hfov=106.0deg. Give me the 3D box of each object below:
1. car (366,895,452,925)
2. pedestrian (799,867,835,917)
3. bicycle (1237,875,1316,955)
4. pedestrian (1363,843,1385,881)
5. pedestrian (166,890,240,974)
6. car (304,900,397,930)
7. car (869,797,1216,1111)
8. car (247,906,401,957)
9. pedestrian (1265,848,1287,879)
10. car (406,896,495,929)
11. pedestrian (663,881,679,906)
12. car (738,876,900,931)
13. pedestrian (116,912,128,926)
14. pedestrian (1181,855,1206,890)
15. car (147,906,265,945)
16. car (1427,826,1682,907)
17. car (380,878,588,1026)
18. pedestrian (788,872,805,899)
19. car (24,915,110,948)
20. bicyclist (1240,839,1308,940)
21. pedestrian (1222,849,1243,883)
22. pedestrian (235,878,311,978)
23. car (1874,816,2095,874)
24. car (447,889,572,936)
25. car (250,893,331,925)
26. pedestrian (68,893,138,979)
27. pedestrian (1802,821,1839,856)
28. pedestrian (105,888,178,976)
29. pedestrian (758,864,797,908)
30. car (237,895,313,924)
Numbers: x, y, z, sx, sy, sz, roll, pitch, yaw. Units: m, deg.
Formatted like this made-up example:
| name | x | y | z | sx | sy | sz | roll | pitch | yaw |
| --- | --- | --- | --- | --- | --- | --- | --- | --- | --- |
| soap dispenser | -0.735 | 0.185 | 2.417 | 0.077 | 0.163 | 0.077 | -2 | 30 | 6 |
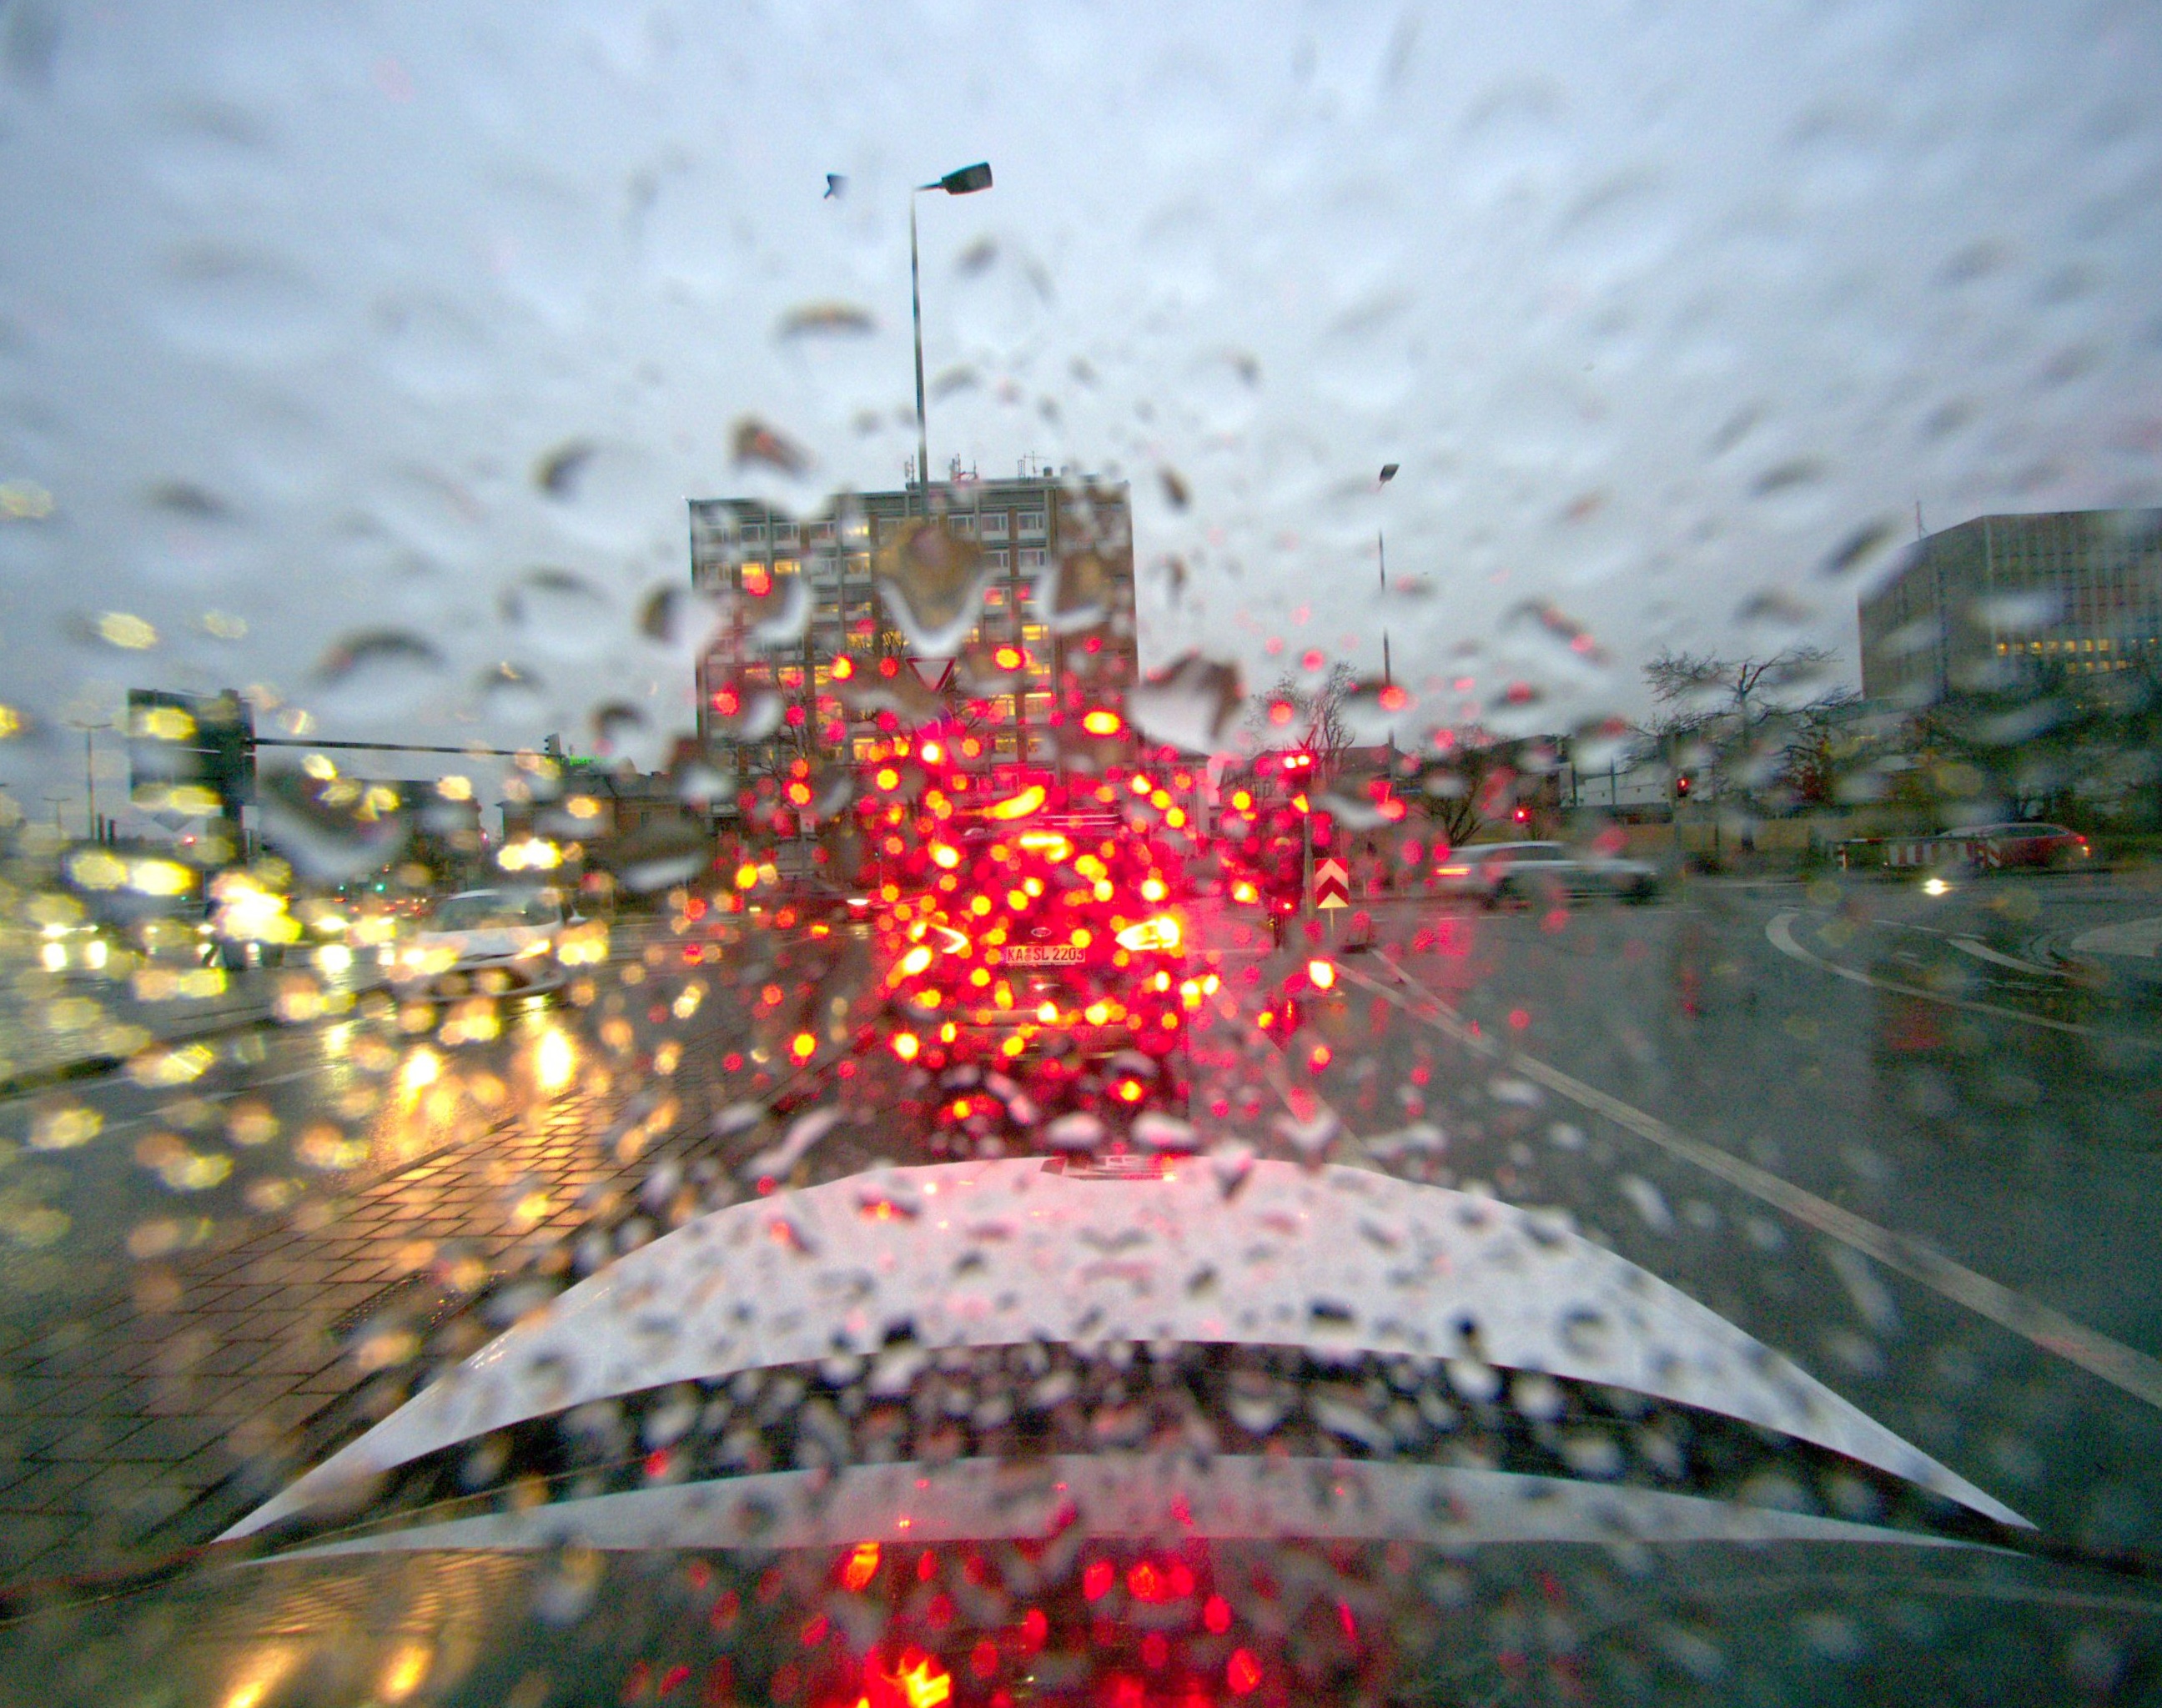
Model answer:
| name | x | y | z | sx | sy | sz | roll | pitch | yaw |
| --- | --- | --- | --- | --- | --- | --- | --- | --- | --- |
| car | -38.404 | 3.181 | 46.617 | 1.496 | 1.461 | 3.453 | -1 | -1 | 31 |
| pedestrian | -11.061 | 1.573 | 34.104 | 0.919 | 1.978 | 0.965 | -3 | 0 | 23 |
| bicycle | 2.906 | 0.875 | 12.313 | 0.780 | 1.075 | 1.958 | 0 | -1 | 2 |
| pedestrian | 16.743 | 0.432 | 46.550 | 0.879 | 2.113 | 0.897 | -3 | 0 | 3 |
| pedestrian | -19.477 | 1.709 | 18.080 | 0.653 | 1.755 | 0.856 | -3 | 0 | 18 |
| car | -43.822 | 3.628 | 48.915 | 1.582 | 1.482 | 3.840 | -1 | -1 | 31 |
| car | -0.163 | 0.591 | 6.687 | 1.986 | 1.789 | 4.001 | 0 | -1 | 2 |
| car | -26.275 | 2.674 | 28.289 | 4.542 | 1.477 | 1.819 | -3 | -1 | 17 |
| pedestrian | 10.207 | 0.479 | 42.716 | 0.920 | 1.533 | 1.045 | -3 | 0 | 6 |
| car | -33.330 | 3.060 | 43.074 | 3.954 | 1.568 | 1.836 | -1 | -1 | 20 |
| pedestrian | -27.772 | 2.674 | 55.177 | 0.634 | 1.688 | 0.640 | -3 | 0 | 18 |
| car | -8.274 | 1.557 | 25.813 | 4.543 | 1.477 | 1.819 | -3 | -1 | 15 |
| pedestrian | -145.489 | 9.913 | 123.557 | 0.908 | 2.013 | 0.986 | -3 | 0 | 42 |
| pedestrian | 5.986 | 0.978 | 43.134 | 1.127 | 1.720 | 0.984 | -3 | 0 | 12 |
| car | -38.940 | 3.163 | 36.251 | 4.617 | 1.477 | 1.820 | -3 | -1 | 19 |
| car | 10.731 | 0.299 | 18.838 | 4.653 | 1.552 | 1.945 | -3 | -1 | 11 |
| car | -7.642 | 1.156 | 10.781 | 1.751 | 1.448 | 3.677 | -5 | -1 | -30 |
| pedestrian | -17.951 | 1.977 | 51.325 | 0.753 | 1.628 | 0.560 | -3 | 0 | 16 |
| car | -52.165 | 3.982 | 41.875 | 4.612 | 1.477 | 1.822 | -3 | -1 | 26 |
| bicyclist | 2.903 | 0.512 | 12.334 | 0.780 | 1.453 | 1.134 | 0 | -1 | 2 |
| pedestrian | 8.244 | 0.655 | 44.252 | 0.990 | 1.799 | 0.922 | -3 | 0 | 10 |
| pedestrian | -17.305 | 1.554 | 17.475 | 0.996 | 2.021 | 0.792 | -3 | 0 | -39 |
| car | 27.478 | -0.263 | 24.898 | 4.390 | 1.477 | 1.814 | -3 | -1 | 6 |
| car | -20.563 | 2.108 | 29.313 | 3.920 | 1.477 | 1.821 | -3 | -1 | 22 |
| car | -51.161 | 3.537 | 52.768 | 1.649 | 1.826 | 3.609 | -1 | -1 | 39 |
| pedestrian | -21.455 | 1.782 | 17.878 | 0.741 | 1.770 | 0.546 | -3 | 0 | -12 |
| pedestrian | 35.771 | -0.755 | 39.399 | 0.958 | 1.603 | 0.795 | -3 | 0 | 3 |
| pedestrian | -20.769 | 1.709 | 18.015 | 0.733 | 1.838 | 0.674 | -3 | 0 | -11 |
| pedestrian | -13.603 | 1.432 | 36.530 | 0.992 | 1.842 | 1.146 | -3 | 2 | 24 |
| car | -53.096 | 3.621 | 53.660 | 1.505 | 1.702 | 3.411 | -1 | -1 | 39 |
